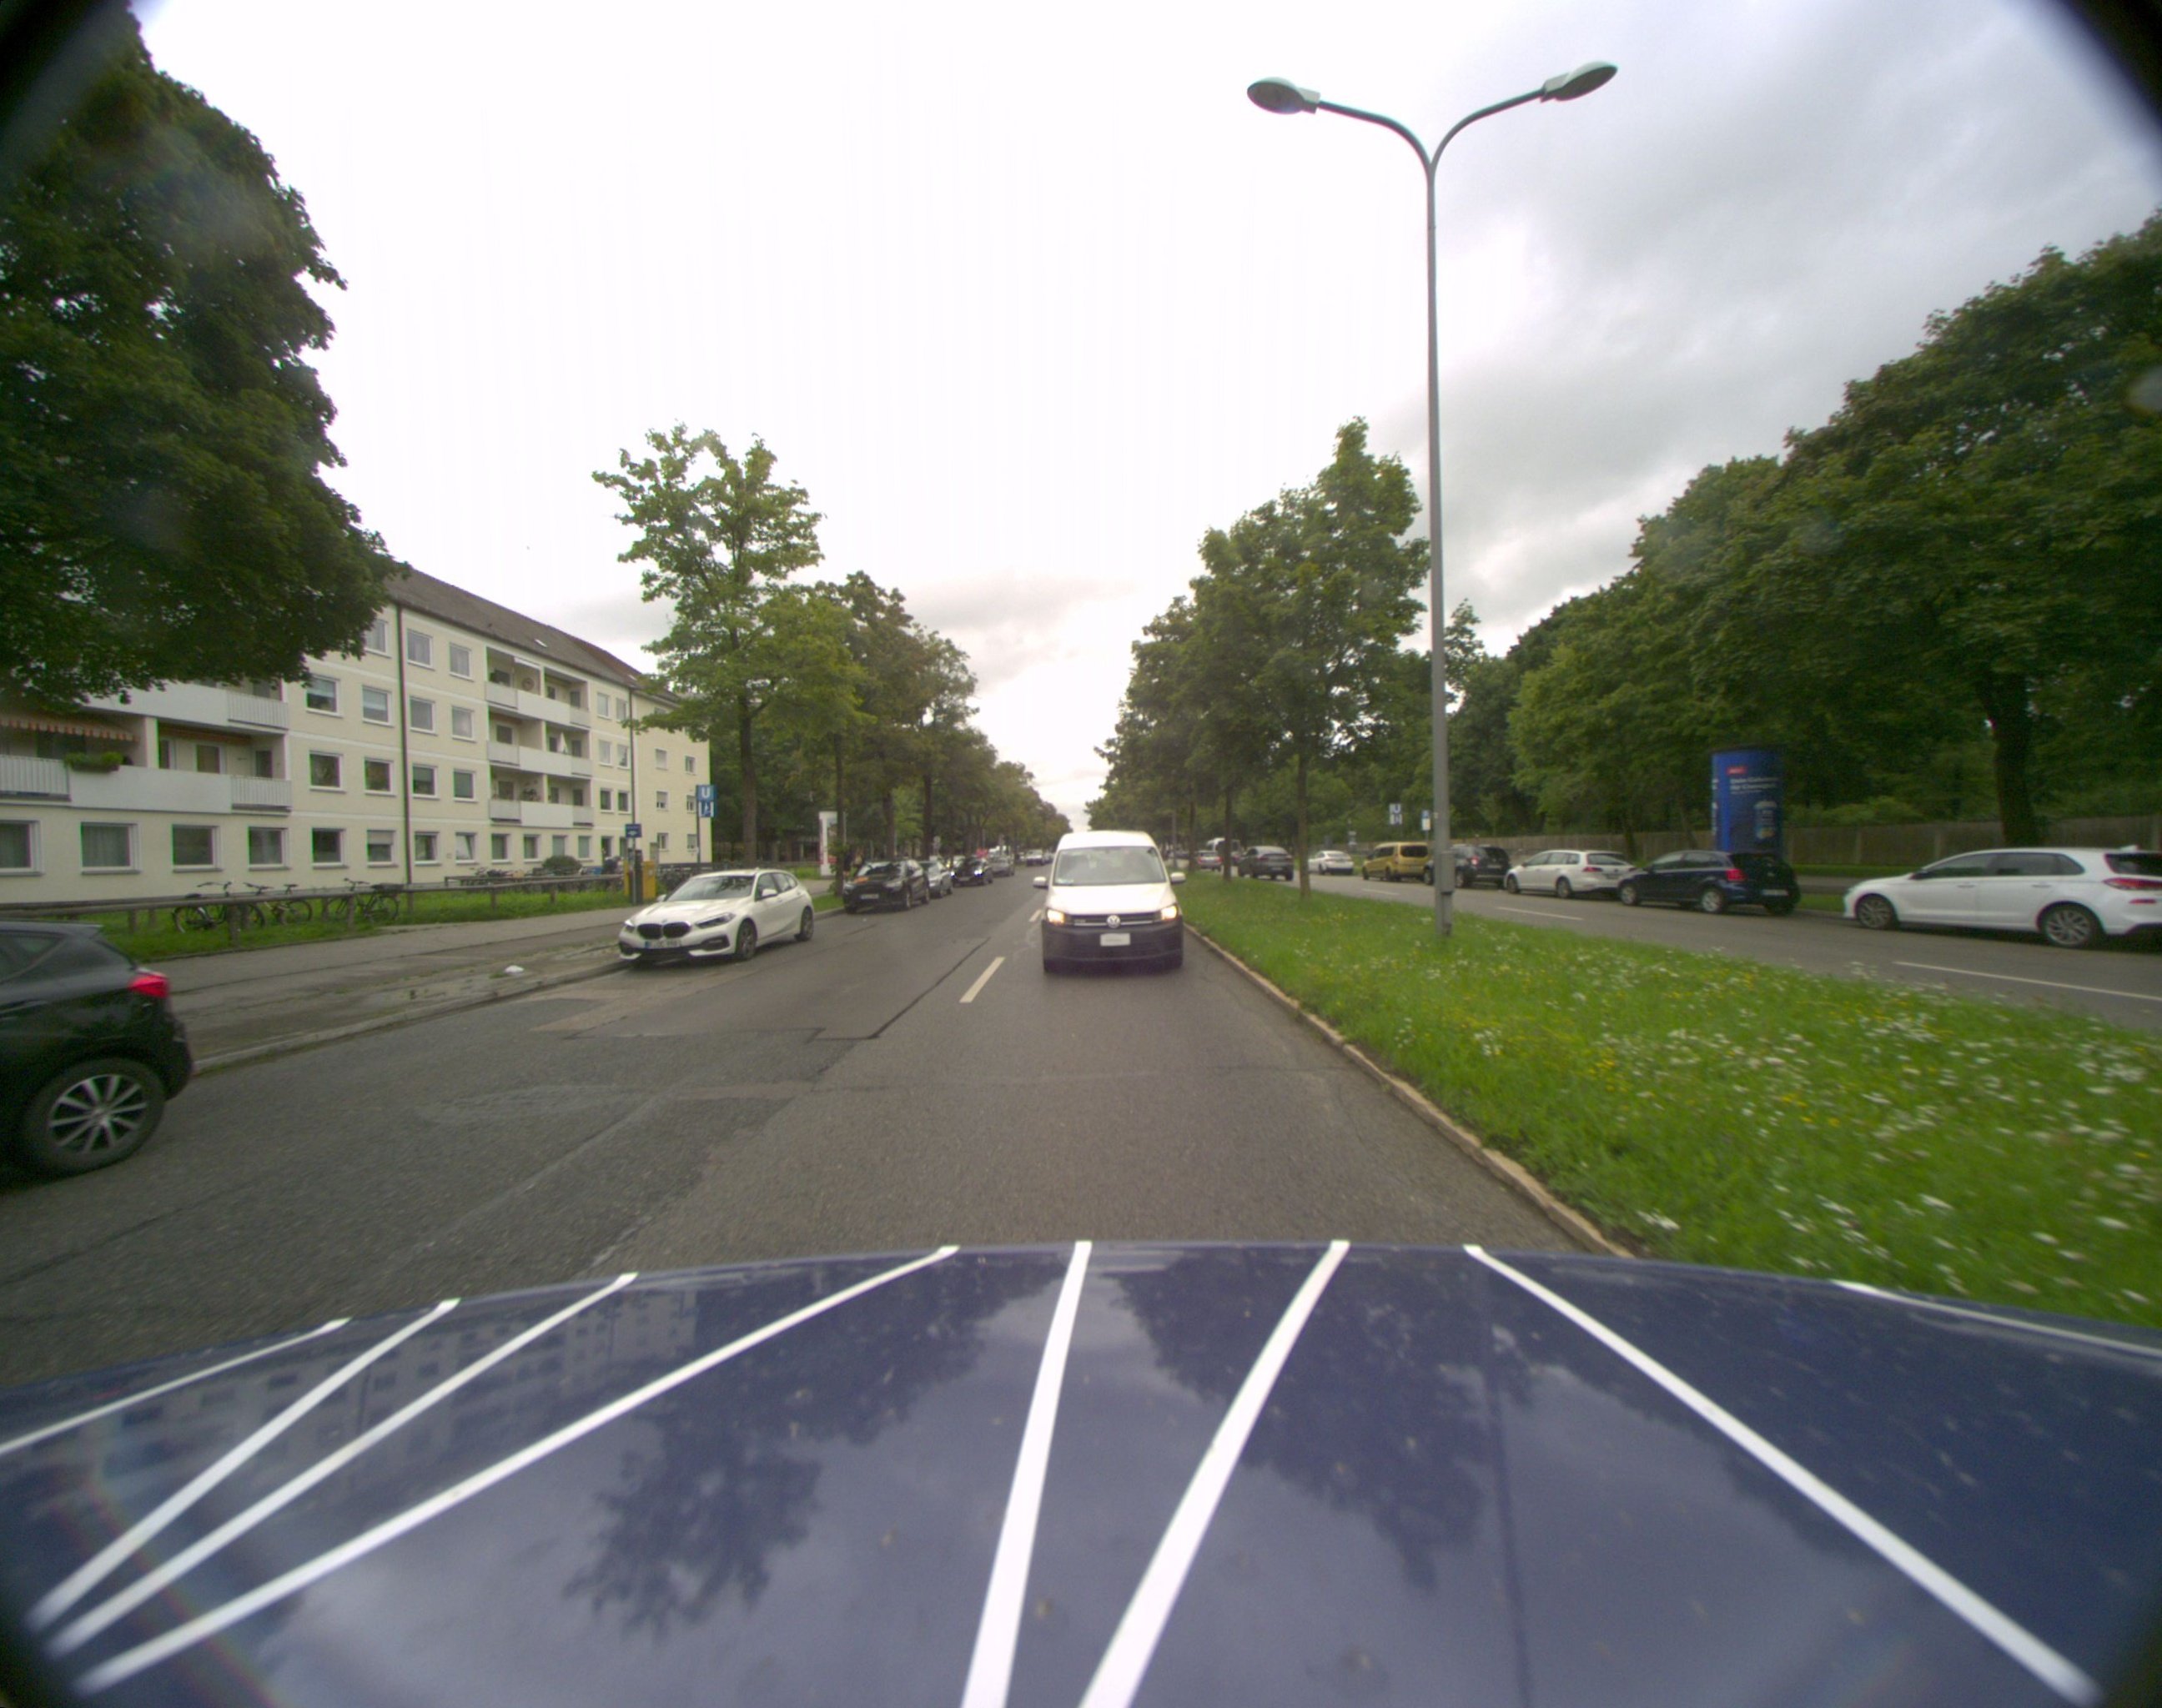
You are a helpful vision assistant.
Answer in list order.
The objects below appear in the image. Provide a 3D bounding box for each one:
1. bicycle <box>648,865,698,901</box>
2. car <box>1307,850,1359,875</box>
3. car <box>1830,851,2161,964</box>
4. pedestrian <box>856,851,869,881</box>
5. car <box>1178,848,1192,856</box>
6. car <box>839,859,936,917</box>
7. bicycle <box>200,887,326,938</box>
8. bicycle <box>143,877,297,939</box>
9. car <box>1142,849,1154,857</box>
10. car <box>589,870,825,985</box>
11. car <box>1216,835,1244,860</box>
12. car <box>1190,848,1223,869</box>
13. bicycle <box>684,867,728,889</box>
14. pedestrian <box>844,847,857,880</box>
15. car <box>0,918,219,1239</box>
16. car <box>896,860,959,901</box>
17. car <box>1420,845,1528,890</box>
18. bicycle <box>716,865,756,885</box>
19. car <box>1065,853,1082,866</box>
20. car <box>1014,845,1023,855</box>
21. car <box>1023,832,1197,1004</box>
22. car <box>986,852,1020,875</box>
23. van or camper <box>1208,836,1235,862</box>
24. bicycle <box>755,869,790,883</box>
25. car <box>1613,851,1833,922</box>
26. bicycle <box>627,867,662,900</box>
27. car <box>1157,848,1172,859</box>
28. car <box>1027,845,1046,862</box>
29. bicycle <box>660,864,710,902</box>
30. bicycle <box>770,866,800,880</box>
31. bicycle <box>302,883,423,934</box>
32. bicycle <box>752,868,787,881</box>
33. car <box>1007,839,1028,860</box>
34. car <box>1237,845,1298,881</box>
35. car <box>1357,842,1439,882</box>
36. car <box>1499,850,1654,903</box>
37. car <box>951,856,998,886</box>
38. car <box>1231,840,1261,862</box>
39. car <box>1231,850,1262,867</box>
[{"bbox_3d":[-14.333,0.996,26.736,0.545,1.182,2.076,-1,1,1],"label":"bicycle"},{"bbox_3d":[15.187,0.482,45.970,1.717,1.434,4.040,0,1,-2],"label":"car"},{"bbox_3d":[14.895,0.706,12.057,1.826,1.468,4.259,1,1,1],"label":"car"},{"bbox_3d":[-11.652,0.635,40.504,0.560,1.595,0.519,-2,1,-19],"label":"pedestrian"},{"bbox_3d":[18.142,-0.331,132.535,1.717,1.401,4.040,0,1,-2],"label":"car"},{"bbox_3d":[-5.791,0.955,23.273,1.826,1.502,4.157,-2,1,0],"label":"car"},{"bbox_3d":[-18.853,1.330,17.545,2.032,1.061,0.663,-2,1,-4],"label":"bicycle"},{"bbox_3d":[-16.371,1.019,14.489,2.032,1.061,0.663,-2,1,-4],"label":"bicycle"},{"bbox_3d":[12.791,-0.179,144.315,1.866,1.448,4.500,1,1,0],"label":"car"},{"bbox_3d":[-6.124,1.114,13.114,1.826,1.428,4.287,-3,1,1],"label":"car"},{"bbox_3d":[15.623,-0.688,79.789,1.999,2.576,4.499,0,1,-2],"label":"car"},{"bbox_3d":[8.603,0.292,52.415,1.722,1.374,3.767,1,0,1],"label":"car"},{"bbox_3d":[-16.288,1.041,32.992,1.599,0.910,0.498,-2,1,-4],"label":"bicycle"},{"bbox_3d":[-12.246,0.500,40.354,0.560,1.745,0.656,-2,1,-19],"label":"pedestrian"},{"bbox_3d":[-6.069,1.152,2.601,1.648,1.468,3.956,-2,0,0],"label":"car"},{"bbox_3d":[-5.830,0.968,29.272,1.617,1.372,3.926,-2,1,-1],"label":"car"},{"bbox_3d":[15.085,0.477,29.443,2.007,1.607,4.040,0,1,-2],"label":"car"},{"bbox_3d":[-16.134,0.995,35.550,1.599,0.910,0.498,0,1,-4],"label":"bicycle"},{"bbox_3d":[-0.896,0.648,94.772,1.984,1.591,4.402,1,1,1],"label":"car"},{"bbox_3d":[-15.583,-1.085,190.086,1.999,2.440,4.999,-2,1,-1],"label":"car"},{"bbox_3d":[0.328,0.667,10.431,1.772,1.742,4.545,-3,1,0],"label":"car"},{"bbox_3d":[-5.461,0.619,53.492,1.827,1.460,4.300,-2,1,1],"label":"car"},{"bbox_3d":[15.687,-0.600,84.894,1.999,2.791,4.931,0,1,-2],"label":"van or camper"},{"bbox_3d":[-16.153,1.157,39.829,1.599,0.691,0.498,-1,1,-4],"label":"bicycle"},{"bbox_3d":[14.734,0.677,17.757,1.826,1.438,3.787,1,1,-2],"label":"car"},{"bbox_3d":[-15.552,1.033,27.093,0.466,1.110,1.253,-1,1,1],"label":"bicycle"},{"bbox_3d":[12.934,-0.112,117.669,1.866,1.660,4.500,1,1,0],"label":"car"},{"bbox_3d":[-5.350,-0.052,91.376,1.827,1.939,4.300,-2,1,1],"label":"car"},{"bbox_3d":[-13.436,0.975,25.868,0.545,1.182,2.076,-1,1,1],"label":"bicycle"},{"bbox_3d":[-15.747,1.004,40.417,1.392,0.709,0.498,1,1,-4],"label":"bicycle"},{"bbox_3d":[-16.517,1.237,17.505,2.032,1.061,0.663,-2,1,-4],"label":"bicycle"},{"bbox_3d":[-16.036,1.070,39.111,1.599,0.634,0.498,1,1,-4],"label":"bicycle"},{"bbox_3d":[-7.929,-0.622,95.852,1.998,2.441,4.999,-2,1,1],"label":"car"},{"bbox_3d":[8.887,0.426,36.560,1.826,1.580,4.501,-1,0,1],"label":"car"},{"bbox_3d":[14.759,0.332,35.637,1.862,1.761,4.533,0,1,-2],"label":"car"},{"bbox_3d":[14.890,0.602,23.161,1.826,1.461,4.300,0,1,-2],"label":"car"},{"bbox_3d":[-5.464,0.857,39.567,1.827,1.372,4.299,-2,1,-1],"label":"car"},{"bbox_3d":[15.621,-0.280,72.051,1.998,2.002,3.999,-1,1,0],"label":"car"},{"bbox_3d":[14.613,0.358,67.262,1.717,1.401,4.040,0,1,-2],"label":"car"}]
